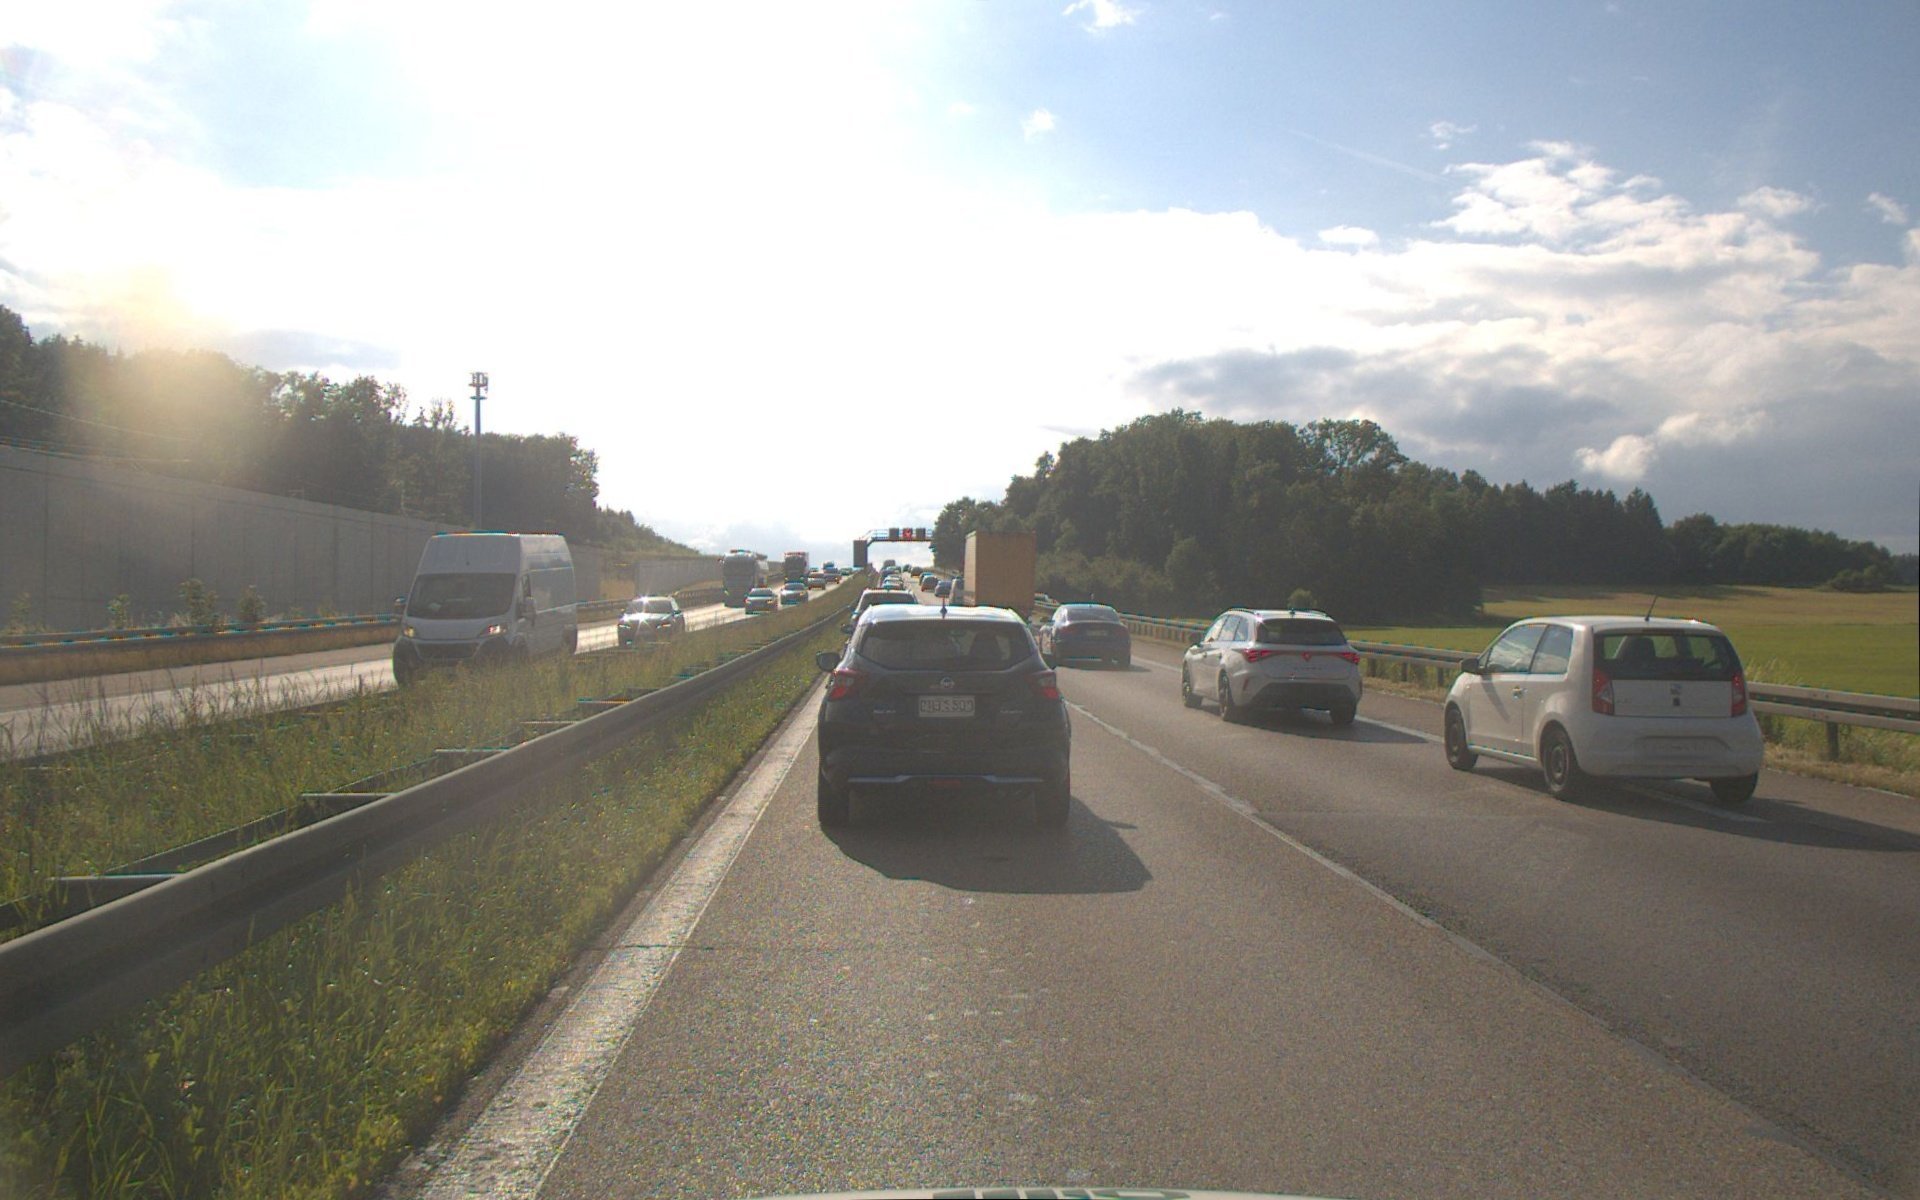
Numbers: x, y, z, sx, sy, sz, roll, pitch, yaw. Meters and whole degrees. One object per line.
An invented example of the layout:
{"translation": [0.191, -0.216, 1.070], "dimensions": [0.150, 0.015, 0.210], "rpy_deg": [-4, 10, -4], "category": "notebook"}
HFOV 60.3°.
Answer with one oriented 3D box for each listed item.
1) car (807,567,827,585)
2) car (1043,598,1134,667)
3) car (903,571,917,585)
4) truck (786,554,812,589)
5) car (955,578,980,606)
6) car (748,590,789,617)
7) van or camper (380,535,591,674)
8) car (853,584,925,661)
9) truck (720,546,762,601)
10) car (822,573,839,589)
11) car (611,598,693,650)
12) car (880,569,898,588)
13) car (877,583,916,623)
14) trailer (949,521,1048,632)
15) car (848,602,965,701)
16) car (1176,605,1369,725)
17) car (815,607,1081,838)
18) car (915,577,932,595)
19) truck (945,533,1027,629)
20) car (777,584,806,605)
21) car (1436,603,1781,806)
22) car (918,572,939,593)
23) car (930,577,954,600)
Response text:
{"translation": [-15.347, -2.554, 177.475], "dimensions": [1.822, 1.866, 4.279], "rpy_deg": [1, 0, -2], "category": "car"}
{"translation": [2.962, 0.745, 38.813], "dimensions": [1.712, 1.501, 4.145], "rpy_deg": [1, -1, -1], "category": "car"}
{"translation": [-7.472, -3.289, 246.854], "dimensions": [1.954, 2.049, 3.997], "rpy_deg": [1, 0, -3], "category": "car"}
{"translation": [-19.587, -3.446, 201.564], "dimensions": [2.699, 4.162, 6.950], "rpy_deg": [0, 0, -2], "category": "truck"}
{"translation": [0.512, -0.536, 112.516], "dimensions": [1.633, 1.785, 3.326], "rpy_deg": [1, 0, -1], "category": "car"}
{"translation": [-11.380, 0.223, 98.590], "dimensions": [1.953, 1.512, 4.397], "rpy_deg": [1, 0, -1], "category": "car"}
{"translation": [-8.508, 0.100, 30.357], "dimensions": [2.122, 2.244, 6.257], "rpy_deg": [1, 0, -1], "category": "van or camper"}
{"translation": [-1.690, 0.534, 40.081], "dimensions": [1.640, 1.756, 3.595], "rpy_deg": [1, -1, -1], "category": "car"}
{"translation": [-16.280, -1.926, 123.309], "dimensions": [2.501, 3.865, 5.415], "rpy_deg": [-1, 0, -2], "category": "truck"}
{"translation": [-16.485, -2.415, 210.923], "dimensions": [1.953, 1.916, 4.785], "rpy_deg": [-2, 0, -2], "category": "car"}
{"translation": [-9.708, 0.742, 52.418], "dimensions": [1.806, 1.534, 4.549], "rpy_deg": [1, 0, -1], "category": "car"}
{"translation": [-7.910, -2.383, 183.310], "dimensions": [1.954, 2.049, 3.997], "rpy_deg": [1, 0, -3], "category": "car"}
{"translation": [-3.383, 0.181, 87.718], "dimensions": [1.954, 2.049, 3.997], "rpy_deg": [1, 0, -3], "category": "car"}
{"translation": [1.565, -0.937, 74.674], "dimensions": [3.478, 4.535, 12.714], "rpy_deg": [1, 0, -3], "category": "trailer"}
{"translation": [-0.804, 0.747, 25.315], "dimensions": [1.640, 1.391, 3.595], "rpy_deg": [1, -1, -1], "category": "car"}
{"translation": [4.149, 0.820, 22.575], "dimensions": [1.588, 1.471, 4.143], "rpy_deg": [1, -1, -4], "category": "car"}
{"translation": [-0.097, 0.795, 12.223], "dimensions": [1.675, 1.451, 3.377], "rpy_deg": [1, -1, -1], "category": "car"}
{"translation": [-4.358, -1.620, 196.692], "dimensions": [1.954, 2.049, 3.997], "rpy_deg": [1, 0, -3], "category": "car"}
{"translation": [1.209, -0.863, 81.397], "dimensions": [3.511, 4.456, 6.684], "rpy_deg": [1, -1, -3], "category": "truck"}
{"translation": [-12.775, -0.382, 125.380], "dimensions": [1.767, 1.543, 4.689], "rpy_deg": [1, 0, -1], "category": "car"}
{"translation": [5.520, 0.815, 14.512], "dimensions": [1.518, 1.521, 3.375], "rpy_deg": [1, 0, -4], "category": "car"}
{"translation": [-3.240, -1.770, 168.617], "dimensions": [1.954, 2.049, 3.997], "rpy_deg": [1, 0, -3], "category": "car"}
{"translation": [-1.640, -1.024, 150.876], "dimensions": [1.954, 2.049, 3.997], "rpy_deg": [1, 0, -3], "category": "car"}
